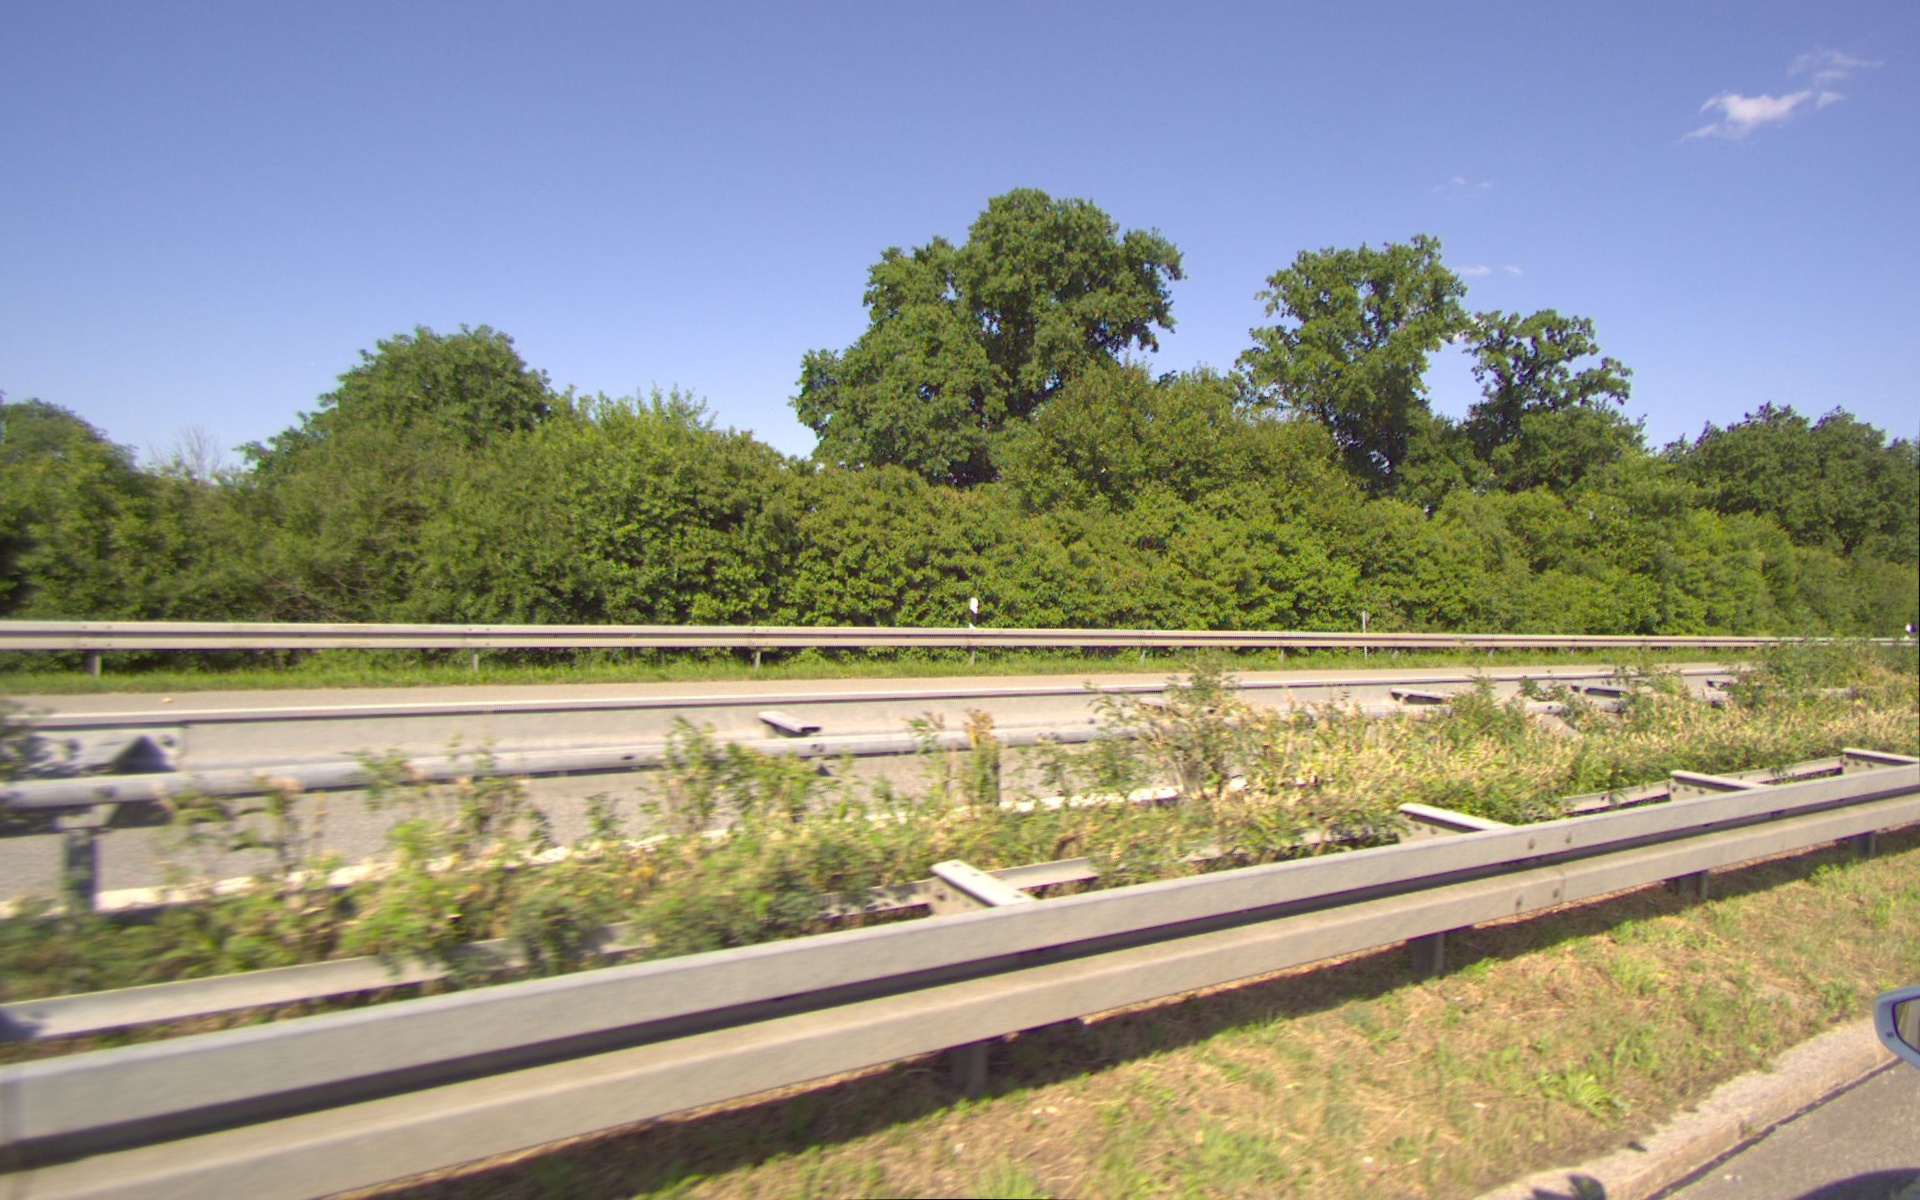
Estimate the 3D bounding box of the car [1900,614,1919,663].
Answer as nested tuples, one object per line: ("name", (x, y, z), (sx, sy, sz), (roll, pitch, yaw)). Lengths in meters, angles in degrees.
("car", (30.938, 1.201, 30.856), (4.437, 1.451, 1.983), (1, -1, -32))
